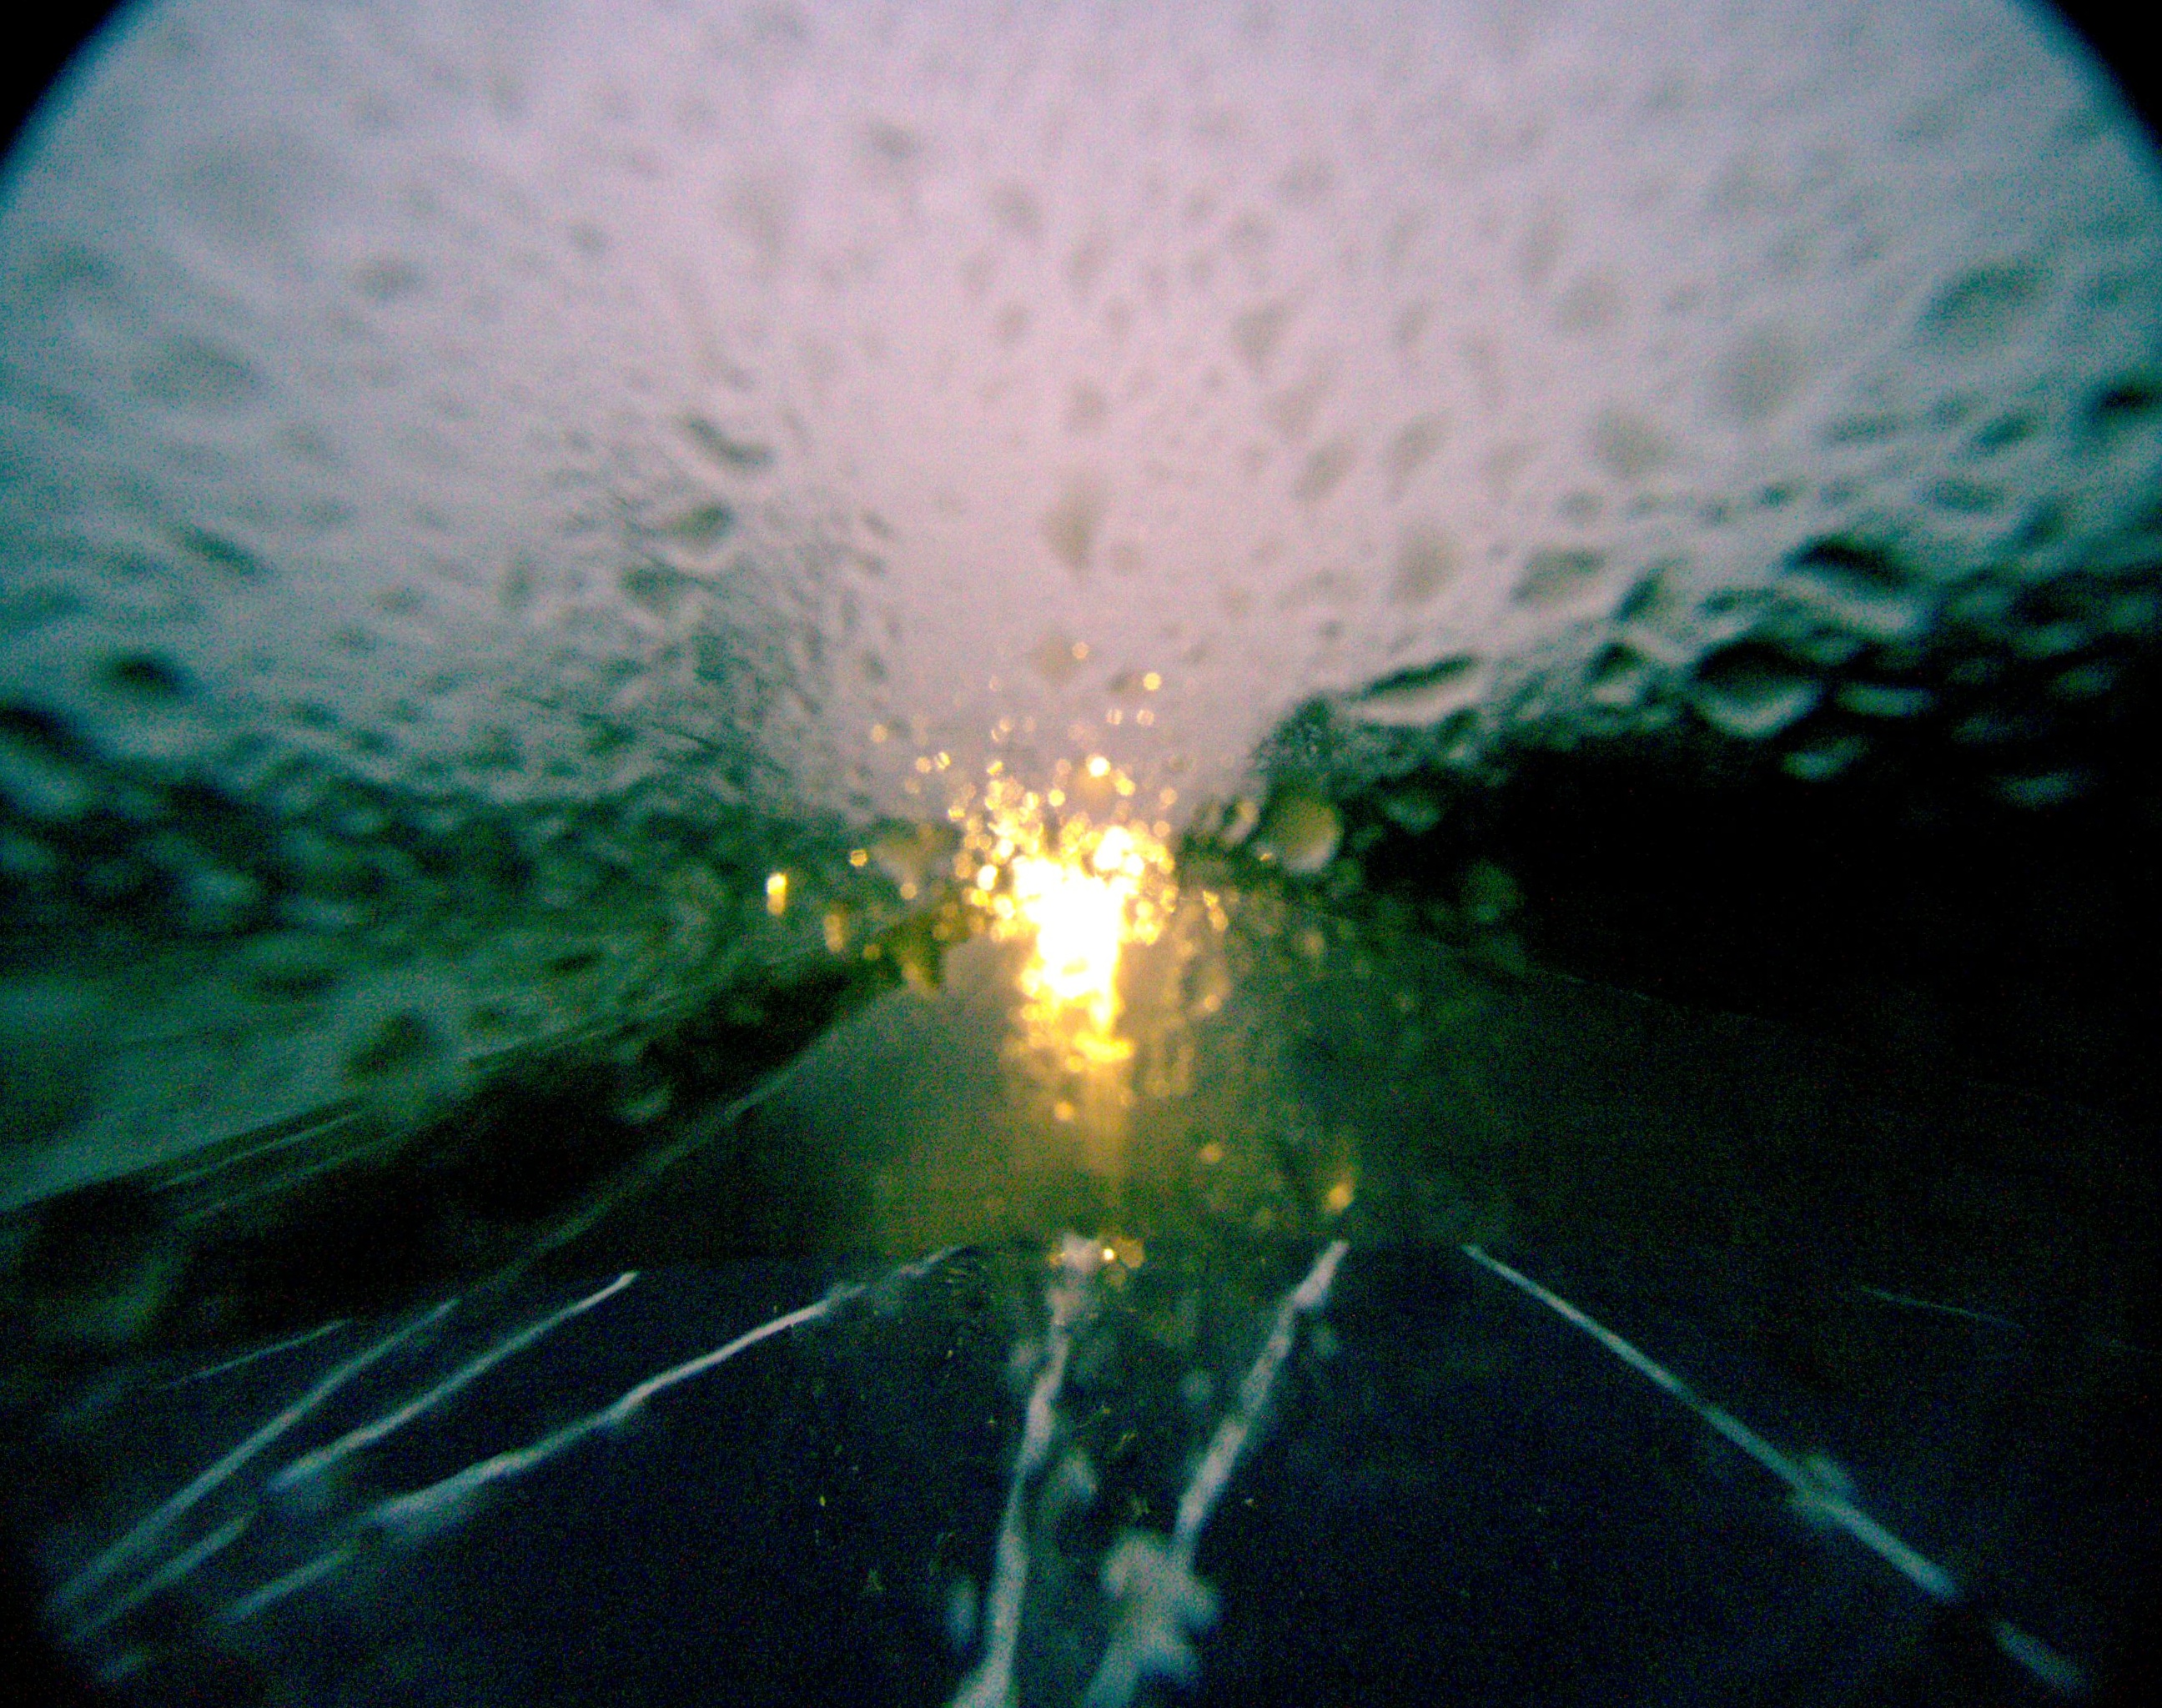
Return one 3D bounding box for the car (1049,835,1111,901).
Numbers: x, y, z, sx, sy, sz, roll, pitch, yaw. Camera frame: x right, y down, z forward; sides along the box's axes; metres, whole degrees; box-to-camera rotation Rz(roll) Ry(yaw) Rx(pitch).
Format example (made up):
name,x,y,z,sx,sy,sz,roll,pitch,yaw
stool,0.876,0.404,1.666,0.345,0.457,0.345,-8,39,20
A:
name,x,y,z,sx,sy,sz,roll,pitch,yaw
car,0.064,0.453,28.253,1.952,2.195,4.535,-2,0,4
